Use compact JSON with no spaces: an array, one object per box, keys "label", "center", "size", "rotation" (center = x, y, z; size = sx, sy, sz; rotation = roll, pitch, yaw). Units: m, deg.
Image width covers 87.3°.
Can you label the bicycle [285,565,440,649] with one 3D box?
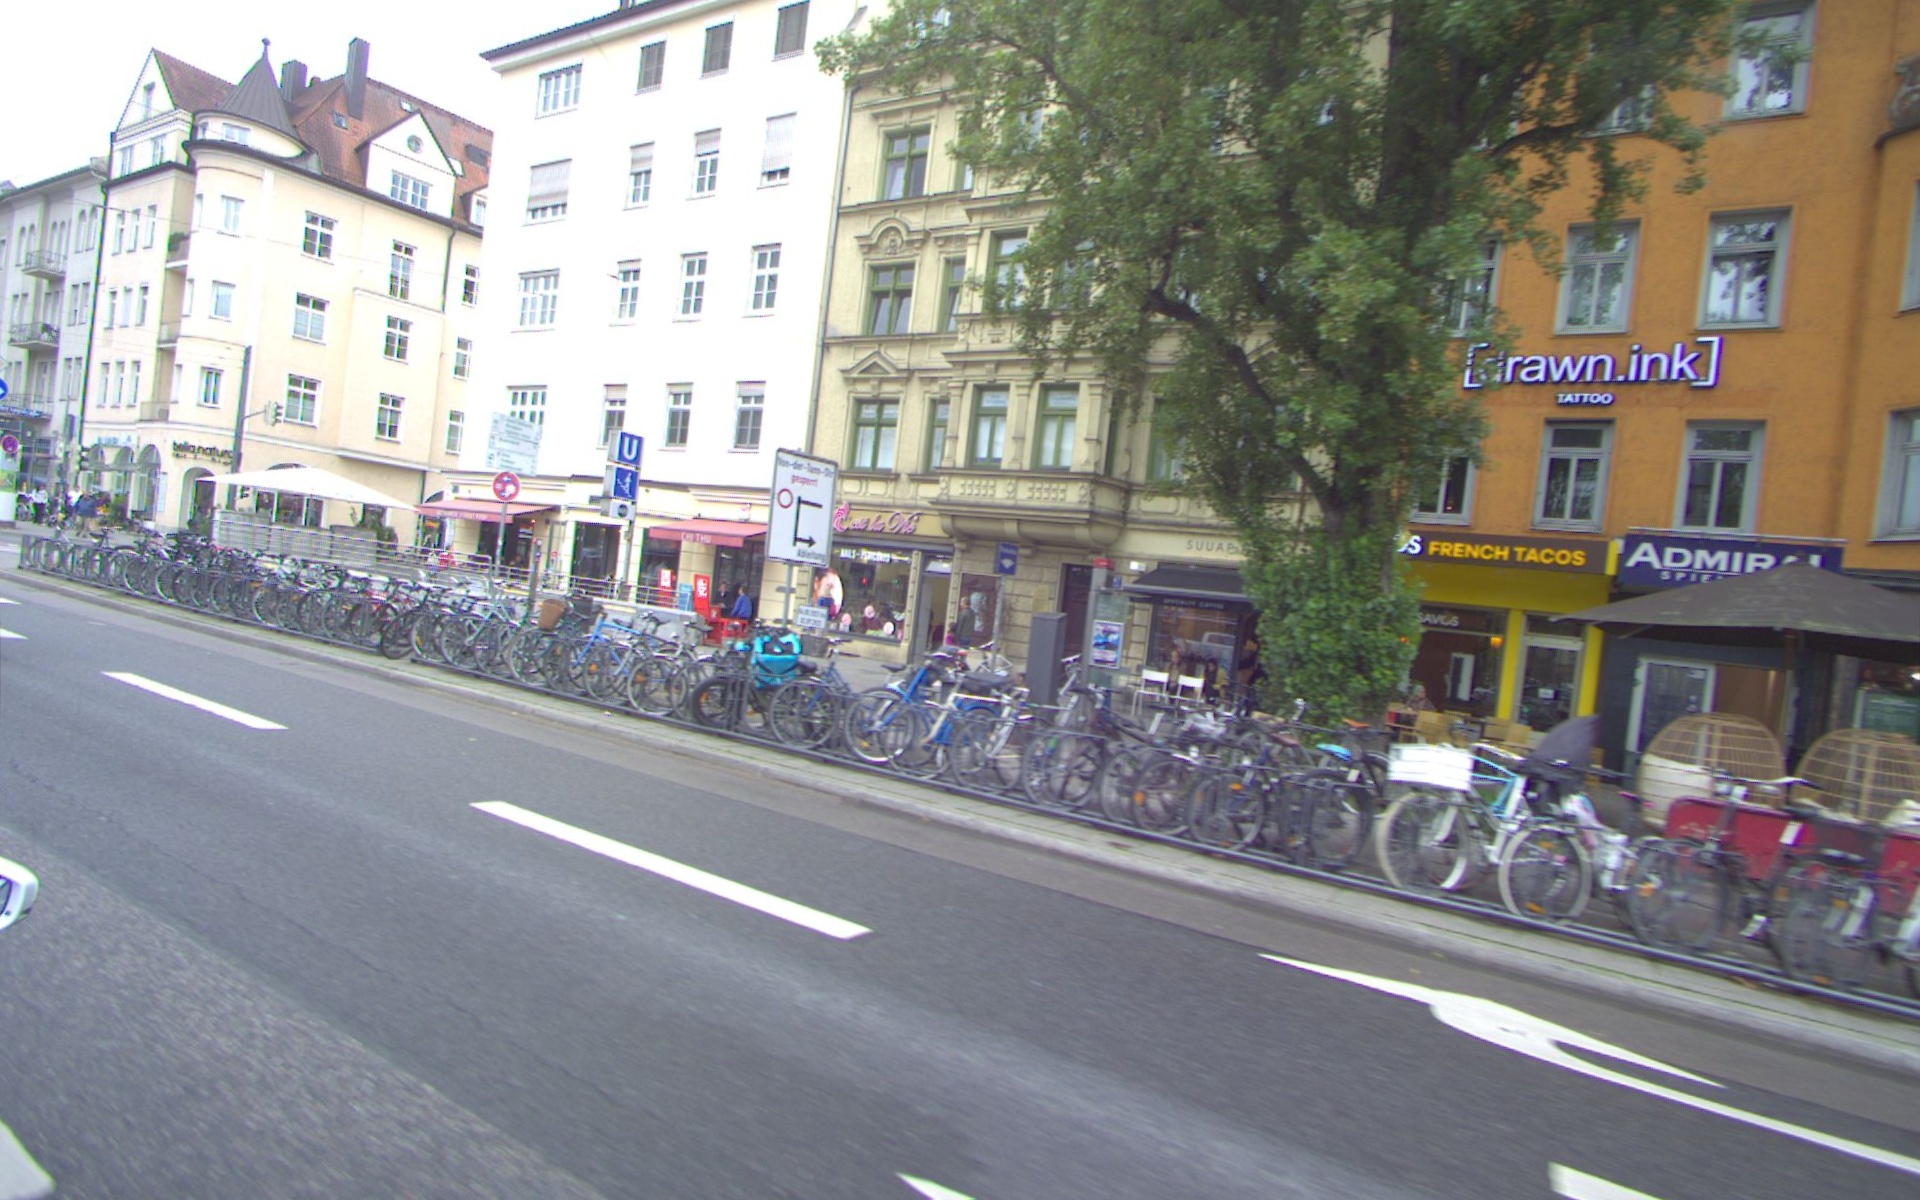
[{"label":"bicycle","center":[-8.537,0.104,14.429],"size":[1.815,1.008,0.346],"rotation":[6,1,-19]}]

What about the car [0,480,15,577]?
[{"label":"car","center":[-10.588,-0.547,9.327],"size":[3.497,1.607,1.706],"rotation":[7,-2,32]}]

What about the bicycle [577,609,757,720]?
[{"label":"bicycle","center":[-3.286,0.735,11.337],"size":[1.818,1.008,0.323],"rotation":[9,1,-22]}]

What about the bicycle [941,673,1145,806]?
[{"label":"bicycle","center":[0.758,1.240,8.758],"size":[1.825,1.008,0.372],"rotation":[9,0,-34]}]

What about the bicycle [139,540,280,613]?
[{"label":"bicycle","center":[-12.597,-0.391,16.924],"size":[1.815,1.008,0.346],"rotation":[6,1,-19]}]

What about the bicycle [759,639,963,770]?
[{"label":"bicycle","center":[-0.947,1.014,9.694],"size":[1.815,1.008,0.324],"rotation":[9,1,-16]}]

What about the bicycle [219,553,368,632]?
[{"label":"bicycle","center":[-10.245,-0.104,15.518],"size":[1.815,1.008,0.346],"rotation":[6,1,-19]}]

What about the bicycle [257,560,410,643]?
[{"label":"bicycle","center":[-9.143,0.027,14.730],"size":[1.813,1.008,0.347],"rotation":[6,1,-15]}]

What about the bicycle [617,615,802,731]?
[{"label":"bicycle","center":[-2.708,0.804,10.950],"size":[1.815,1.008,0.324],"rotation":[9,1,-16]}]

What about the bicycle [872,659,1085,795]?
[{"label":"bicycle","center":[0.184,1.155,9.061],"size":[1.817,1.008,0.323],"rotation":[9,1,-21]}]

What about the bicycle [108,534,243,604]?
[{"label":"bicycle","center":[-13.718,-0.527,17.627],"size":[1.813,1.008,0.347],"rotation":[6,1,-15]}]

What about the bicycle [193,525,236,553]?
[{"label":"bicycle","center":[-31.865,-2.599,43.023],"size":[0.244,1.046,1.584],"rotation":[7,0,18]}]

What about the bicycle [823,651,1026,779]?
[{"label":"bicycle","center":[-0.307,1.098,9.452],"size":[1.820,1.008,0.323],"rotation":[9,0,-26]}]

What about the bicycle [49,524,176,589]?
[{"label":"bicycle","center":[-16.037,-0.808,19.071],"size":[1.812,1.008,0.347],"rotation":[6,1,-14]}]

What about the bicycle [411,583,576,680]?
[{"label":"bicycle","center":[-6.036,0.416,13.092],"size":[1.816,1.008,0.324],"rotation":[9,1,-18]}]

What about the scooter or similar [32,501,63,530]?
[{"label":"scooter or similar","center":[-37.579,-3.479,41.433],"size":[0.815,1.007,0.587],"rotation":[7,3,-36]}]

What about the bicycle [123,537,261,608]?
[{"label":"bicycle","center":[-13.168,-0.460,17.279],"size":[1.813,1.008,0.347],"rotation":[6,1,-15]}]

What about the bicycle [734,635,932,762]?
[{"label":"bicycle","center":[-1.259,0.982,10.028],"size":[1.812,1.008,0.324],"rotation":[9,1,-11]}]

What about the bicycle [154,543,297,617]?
[{"label":"bicycle","center":[-12.057,-0.327,16.559],"size":[1.815,1.008,0.346],"rotation":[6,1,-19]}]

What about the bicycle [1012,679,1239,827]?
[{"label":"bicycle","center":[1.397,1.284,8.379],"size":[1.817,1.008,0.373],"rotation":[9,1,-21]}]

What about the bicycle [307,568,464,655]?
[{"label":"bicycle","center":[-7.999,0.167,14.060],"size":[1.812,1.008,0.347],"rotation":[6,1,-14]}]

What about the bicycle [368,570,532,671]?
[{"label":"bicycle","center":[-6.729,0.279,13.361],"size":[1.819,1.126,0.464],"rotation":[7,1,-26]}]

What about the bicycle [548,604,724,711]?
[{"label":"bicycle","center":[-3.753,0.681,11.706],"size":[1.818,1.008,0.323],"rotation":[9,1,-22]}]

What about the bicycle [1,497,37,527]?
[{"label":"bicycle","center":[-40.431,-3.787,43.238],"size":[1.834,1.072,0.495],"rotation":[7,1,28]}]

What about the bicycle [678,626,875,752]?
[{"label":"bicycle","center":[-1.839,0.903,10.159],"size":[1.813,1.008,0.324],"rotation":[9,1,-12]}]

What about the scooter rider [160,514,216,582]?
[{"label":"scooter rider","center":[-17.249,-1.153,22.473],"size":[0.632,1.406,0.701],"rotation":[7,1,30]}]

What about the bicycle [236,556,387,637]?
[{"label":"bicycle","center":[-9.723,-0.042,15.128],"size":[1.813,1.008,0.347],"rotation":[6,1,-15]}]

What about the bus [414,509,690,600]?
[{"label":"bus","center":[-21.093,-2.218,53.358],"size":[2.776,3.004,13.535],"rotation":[9,1,42]}]

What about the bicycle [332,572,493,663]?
[{"label":"bicycle","center":[-7.381,0.240,13.619],"size":[1.813,1.008,0.324],"rotation":[7,1,-14]}]

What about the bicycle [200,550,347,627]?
[{"label":"bicycle","center":[-10.789,-0.169,15.858],"size":[1.815,1.008,0.346],"rotation":[6,1,-19]}]

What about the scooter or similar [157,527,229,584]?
[{"label":"scooter or similar","center":[-17.097,-0.985,22.424],"size":[1.235,1.088,0.776],"rotation":[7,1,30]}]

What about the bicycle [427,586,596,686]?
[{"label":"bicycle","center":[-5.618,0.461,12.694],"size":[1.816,1.008,0.324],"rotation":[9,1,-18]}]

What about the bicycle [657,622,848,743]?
[{"label":"bicycle","center":[-2.148,0.870,10.484],"size":[1.815,1.008,0.324],"rotation":[9,1,-16]}]

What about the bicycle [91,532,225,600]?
[{"label":"bicycle","center":[-14.318,-0.600,17.991],"size":[1.813,1.008,0.347],"rotation":[6,1,-15]}]

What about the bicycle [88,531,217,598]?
[{"label":"bicycle","center":[-14.730,-0.645,18.384],"size":[1.812,1.008,0.347],"rotation":[6,1,-12]}]

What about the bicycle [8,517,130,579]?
[{"label":"bicycle","center":[-17.842,-1.028,20.162],"size":[1.812,1.008,0.347],"rotation":[6,1,-14]}]

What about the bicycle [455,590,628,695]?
[{"label":"bicycle","center":[-5.077,0.523,12.277],"size":[1.814,1.008,0.324],"rotation":[9,1,-14]}]

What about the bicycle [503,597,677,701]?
[{"label":"bicycle","center":[-4.412,0.599,12.070],"size":[1.818,1.008,0.323],"rotation":[9,1,-22]}]

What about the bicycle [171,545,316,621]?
[{"label":"bicycle","center":[-11.507,-0.261,16.197],"size":[1.815,1.008,0.346],"rotation":[6,1,-19]}]

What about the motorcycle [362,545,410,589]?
[{"label":"motorcycle","center":[-17.171,-0.988,30.104],"size":[1.545,1.171,0.487],"rotation":[7,1,33]}]
